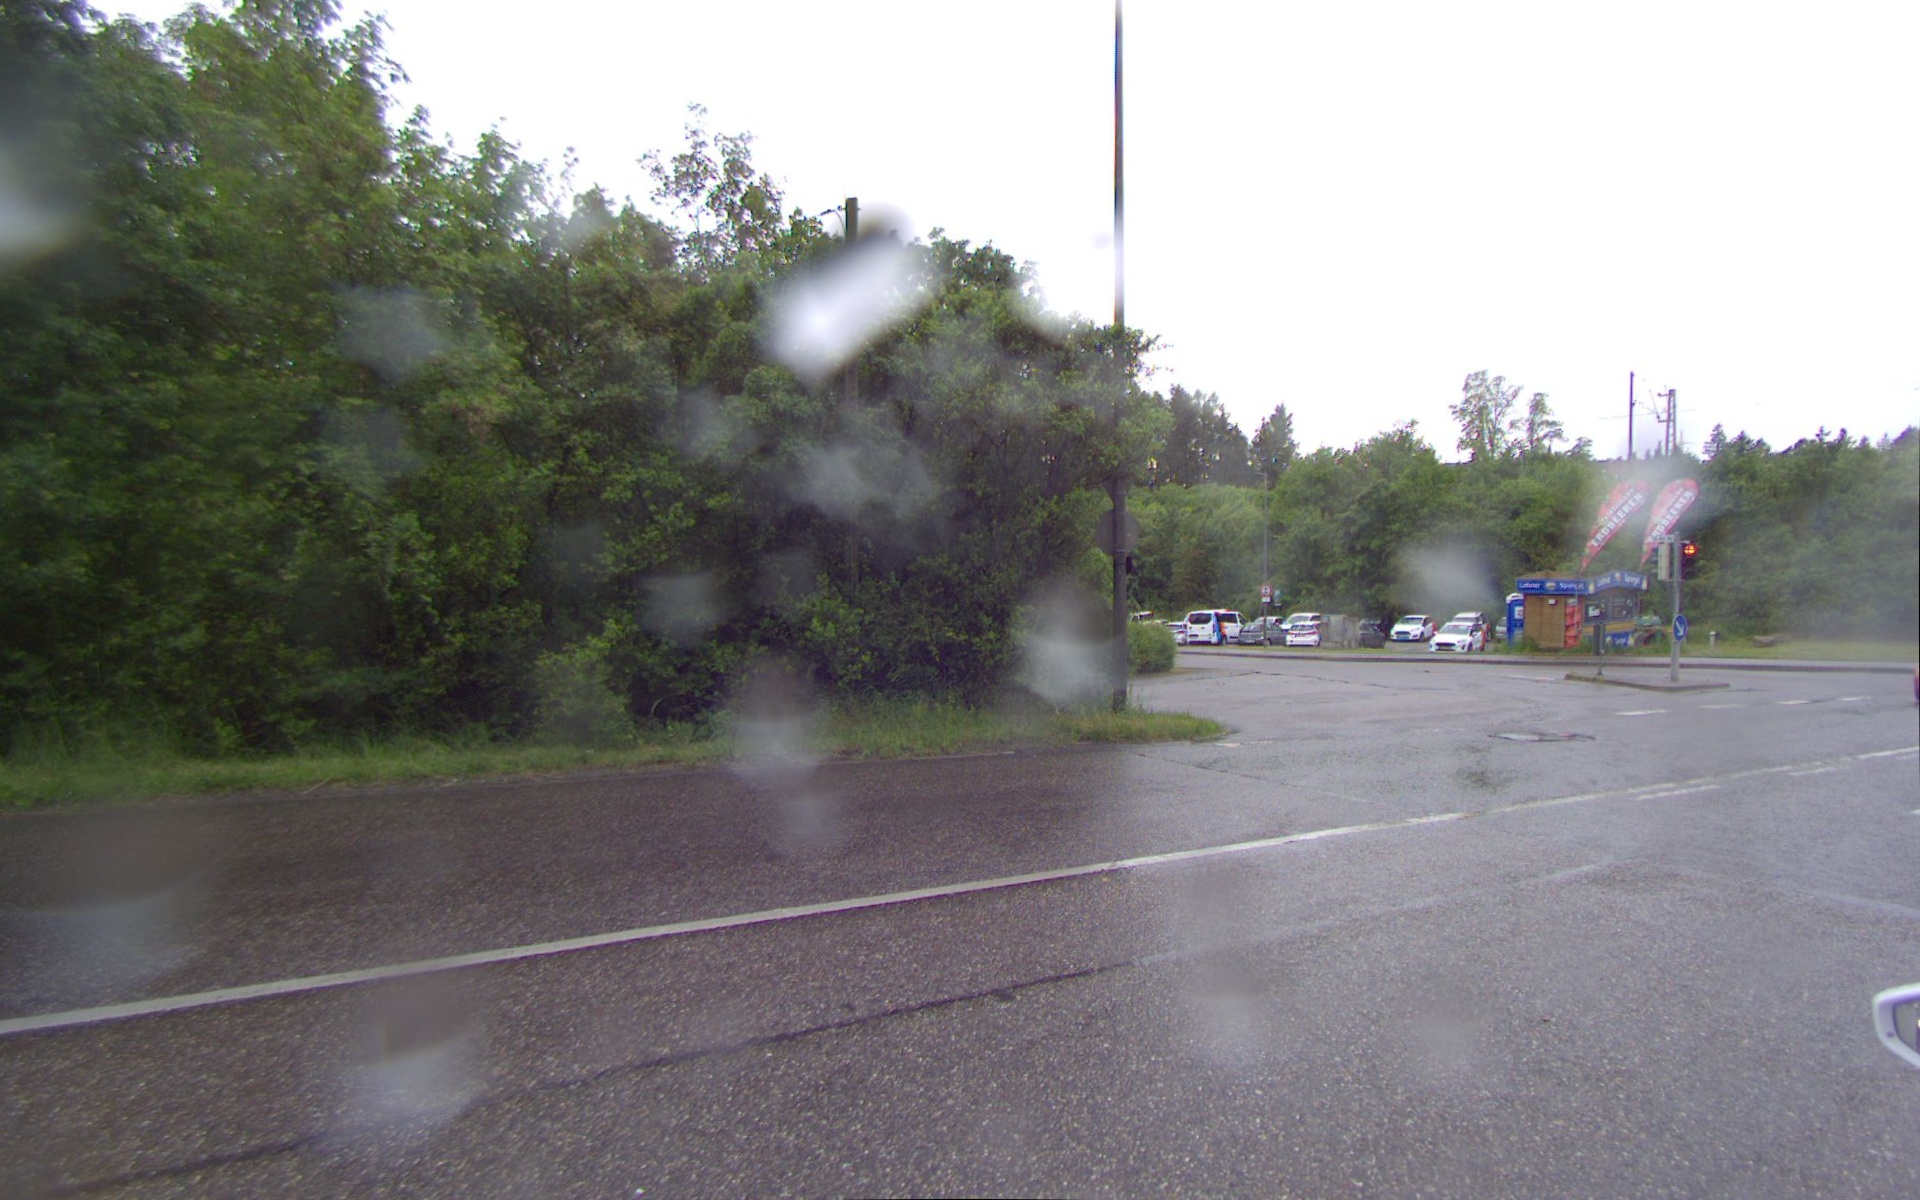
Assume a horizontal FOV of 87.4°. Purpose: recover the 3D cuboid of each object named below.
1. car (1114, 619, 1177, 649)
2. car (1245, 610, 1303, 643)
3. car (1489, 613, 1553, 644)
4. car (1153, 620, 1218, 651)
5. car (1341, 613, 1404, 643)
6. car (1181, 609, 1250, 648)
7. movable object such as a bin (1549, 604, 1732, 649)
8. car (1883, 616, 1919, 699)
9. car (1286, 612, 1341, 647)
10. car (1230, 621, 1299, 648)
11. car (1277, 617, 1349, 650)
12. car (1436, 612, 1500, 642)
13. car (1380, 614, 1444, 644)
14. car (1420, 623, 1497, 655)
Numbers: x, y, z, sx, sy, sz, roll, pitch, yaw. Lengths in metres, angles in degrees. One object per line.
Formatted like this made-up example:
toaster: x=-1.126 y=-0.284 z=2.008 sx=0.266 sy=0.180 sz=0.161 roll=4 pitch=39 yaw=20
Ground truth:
car: x=10.861 y=2.000 z=58.670 sx=1.813 sy=1.606 sz=3.978 roll=1 pitch=-1 yaw=42
car: x=20.435 y=1.714 z=65.227 sx=3.973 sy=2.040 sz=1.974 roll=2 pitch=-2 yaw=-44
car: x=30.527 y=1.557 z=54.621 sx=3.972 sy=1.606 sz=1.975 roll=2 pitch=-2 yaw=-43
car: x=12.775 y=2.017 z=56.772 sx=1.834 sy=1.606 sz=3.978 roll=1 pitch=-1 yaw=42
car: x=24.581 y=1.679 z=59.798 sx=3.972 sy=1.606 sz=1.975 roll=3 pitch=-1 yaw=-43
car: x=13.997 y=1.575 z=54.835 sx=1.971 sy=1.974 sz=3.978 roll=1 pitch=-1 yaw=42
movable object such as a bin: x=28.192 y=1.091 z=41.885 sx=5.663 sy=1.649 sz=2.753 roll=2 pitch=-1 yaw=10
car: x=20.771 y=1.213 z=20.340 sx=3.954 sy=1.606 sz=1.984 roll=3 pitch=-1 yaw=-30
car: x=22.305 y=1.839 z=63.345 sx=1.916 sy=2.040 sz=3.846 roll=1 pitch=0 yaw=43
car: x=16.258 y=1.845 z=53.584 sx=3.972 sy=1.327 sz=1.734 roll=3 pitch=-1 yaw=-43
car: x=18.254 y=1.748 z=51.857 sx=3.880 sy=1.606 sz=1.918 roll=3 pitch=-1 yaw=-43
car: x=28.234 y=1.495 z=55.806 sx=3.972 sy=1.606 sz=1.975 roll=2 pitch=-2 yaw=-43
car: x=26.045 y=1.698 z=57.786 sx=3.972 sy=1.606 sz=1.975 roll=3 pitch=-1 yaw=-43
car: x=23.450 y=1.856 z=47.144 sx=4.868 sy=1.358 sz=1.636 roll=3 pitch=-1 yaw=-43
